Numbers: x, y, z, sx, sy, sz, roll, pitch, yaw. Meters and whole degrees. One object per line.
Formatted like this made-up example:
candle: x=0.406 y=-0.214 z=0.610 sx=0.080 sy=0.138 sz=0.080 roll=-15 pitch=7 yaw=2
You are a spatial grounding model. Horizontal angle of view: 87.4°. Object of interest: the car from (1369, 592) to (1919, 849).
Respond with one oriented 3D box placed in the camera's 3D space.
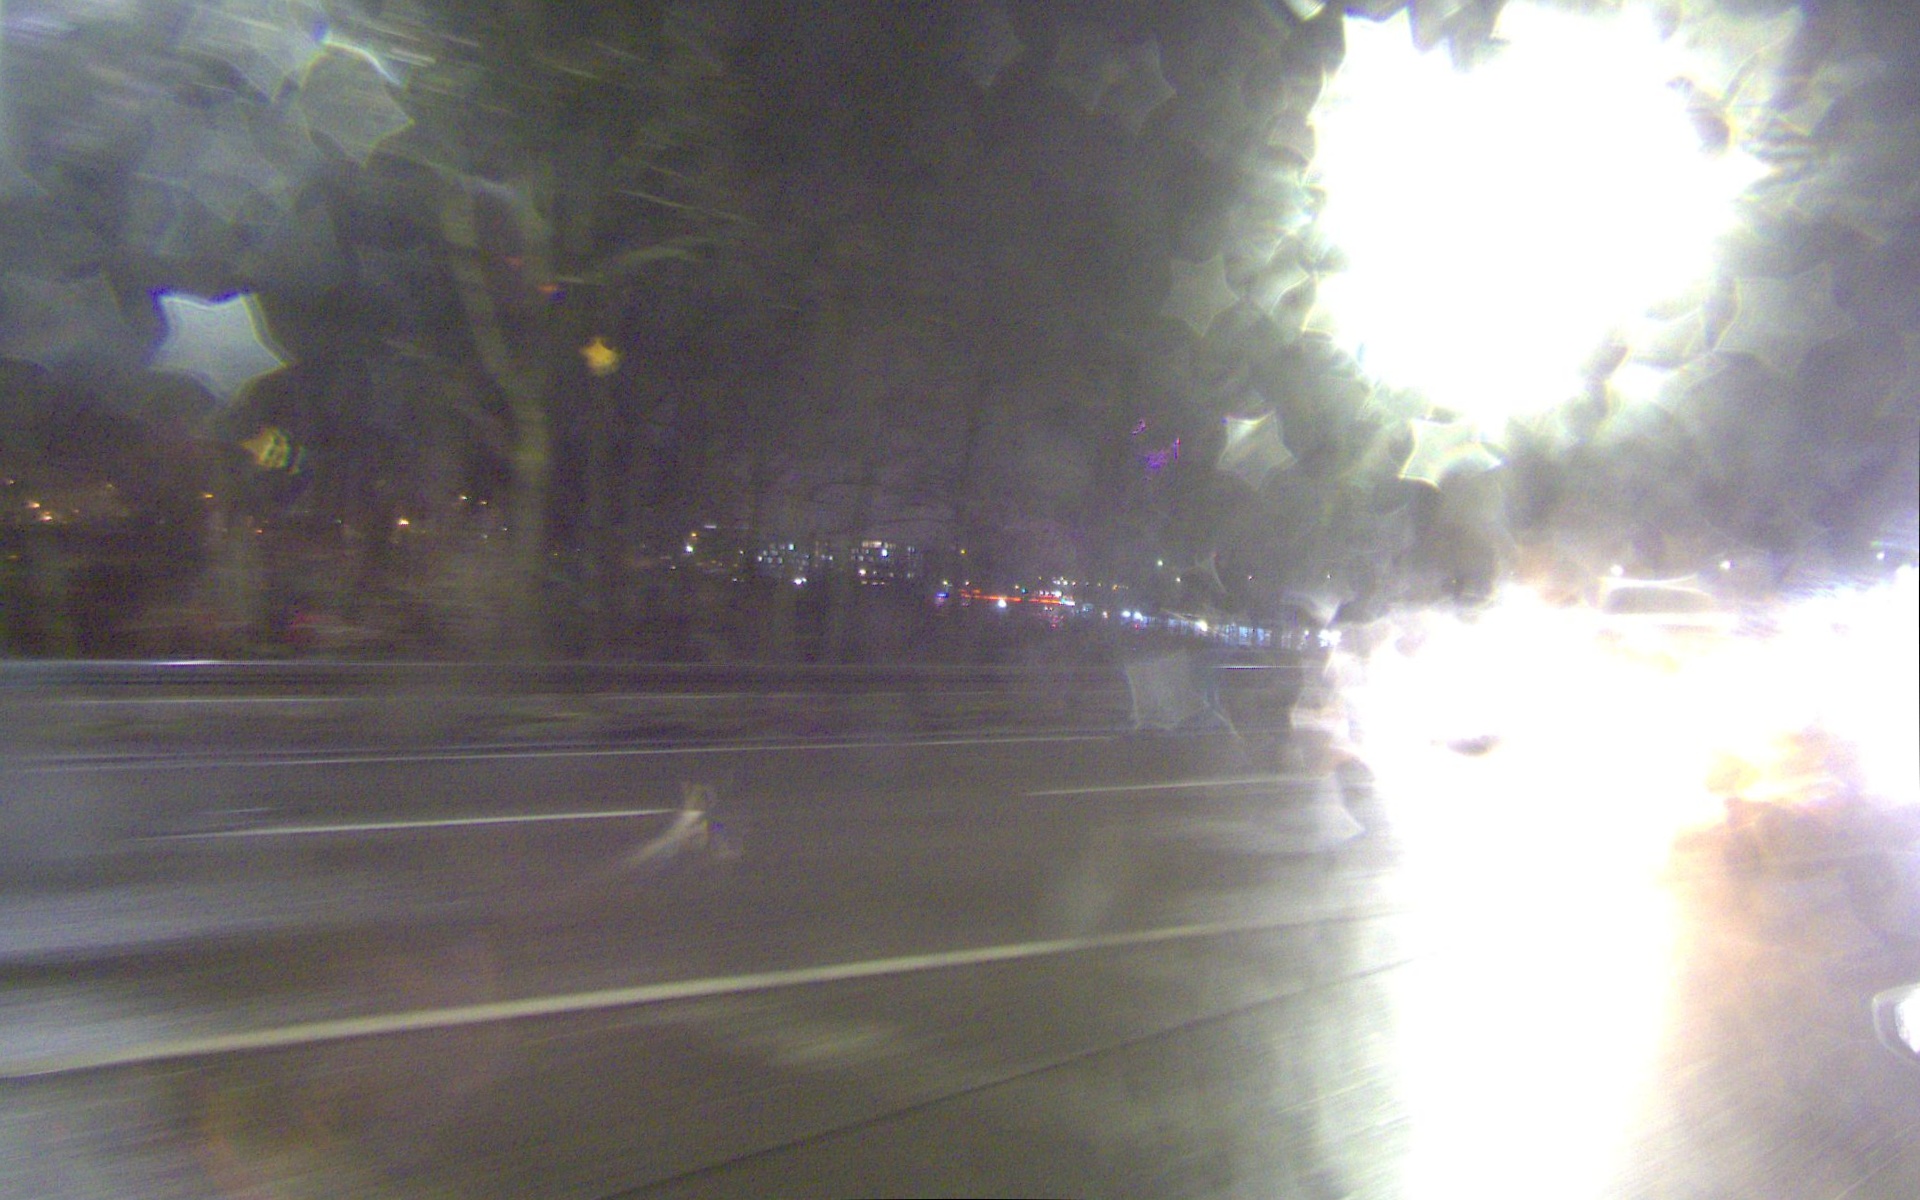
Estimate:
car: x=5.966 y=0.855 z=8.643 sx=4.556 sy=1.697 sz=1.992 roll=1 pitch=1 yaw=-26
